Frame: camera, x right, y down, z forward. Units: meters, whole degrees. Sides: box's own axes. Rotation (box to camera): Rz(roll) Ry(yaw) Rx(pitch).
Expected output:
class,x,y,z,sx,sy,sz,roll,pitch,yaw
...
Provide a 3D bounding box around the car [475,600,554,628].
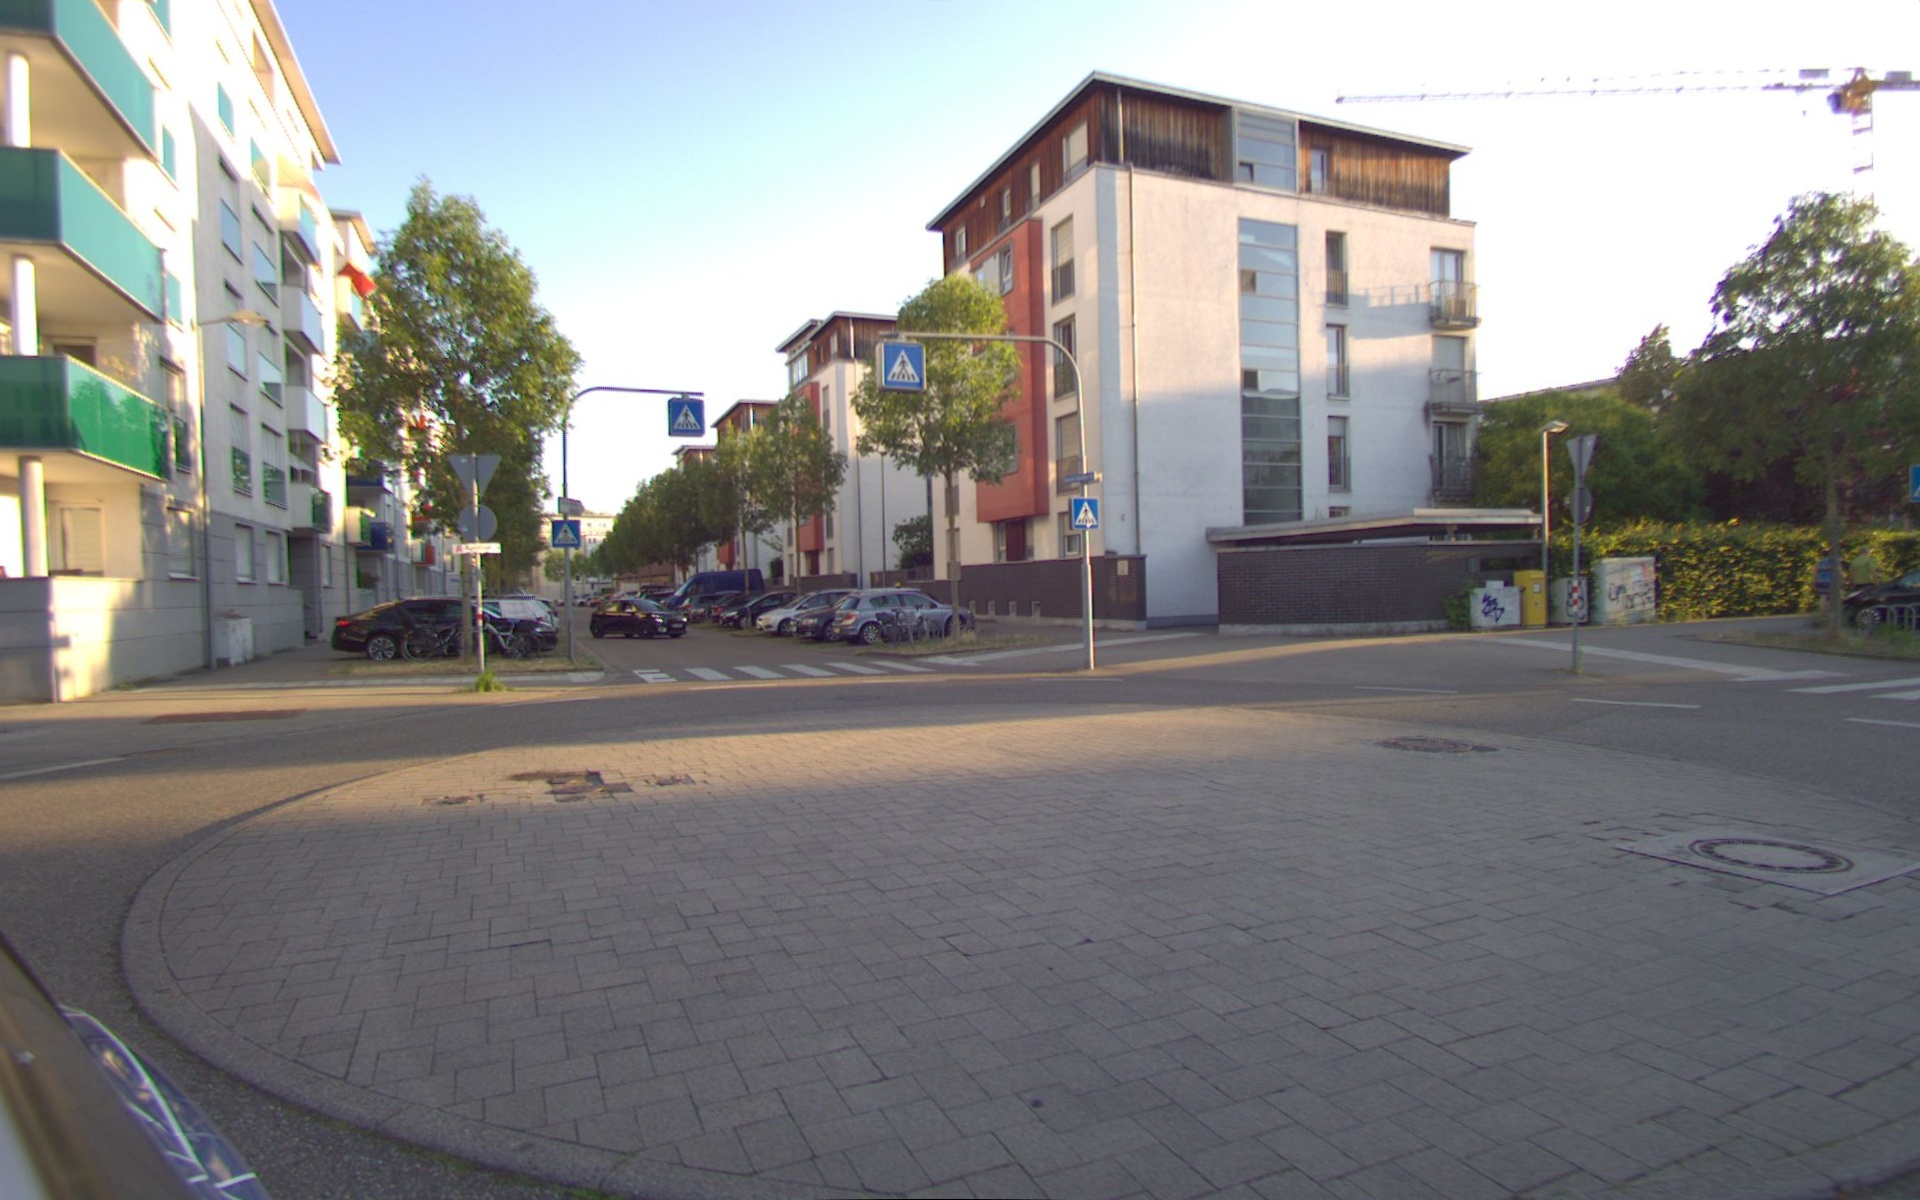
class,x,y,z,sx,sy,sz,roll,pitch,yaw
car,-26.099,0.837,59.475,4.180,1.548,1.698,1,-1,-22

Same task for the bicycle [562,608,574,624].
class,x,y,z,sx,sy,sz,roll,pitch,yaw
bicycle,-31.426,1.298,81.156,0.759,1.276,1.787,-2,0,-24

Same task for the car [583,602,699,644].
class,x,y,z,sx,sy,sz,roll,pitch,yaw
car,-11.731,0.819,37.124,4.163,1.474,1.759,0,-1,31

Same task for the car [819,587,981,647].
class,x,y,z,sx,sy,sz,roll,pitch,yaw
car,-1.688,0.455,28.796,4.220,1.468,1.686,-3,0,-25

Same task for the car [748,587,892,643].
class,x,y,z,sx,sy,sz,roll,pitch,yaw
car,-4.963,0.512,35.983,4.681,1.597,1.764,-4,1,-27

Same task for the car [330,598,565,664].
class,x,y,z,sx,sy,sz,roll,pitch,yaw
car,-12.050,0.741,24.188,4.806,1.469,1.944,1,-1,-21

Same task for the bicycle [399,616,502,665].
class,x,y,z,sx,sy,sz,roll,pitch,yaw
bicycle,-11.275,0.890,22.449,2.000,1.054,0.475,1,-2,-27

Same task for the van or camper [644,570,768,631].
class,x,y,z,sx,sy,sz,roll,pitch,yaw
van or camper,-14.229,-0.008,56.715,6.209,3.110,2.450,-3,0,-27

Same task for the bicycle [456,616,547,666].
class,x,y,z,sx,sy,sz,roll,pitch,yaw
bicycle,-10.133,0.899,22.381,1.808,1.080,0.475,1,-2,-27

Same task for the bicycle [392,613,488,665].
class,x,y,z,sx,sy,sz,roll,pitch,yaw
bicycle,-10.920,0.813,21.305,1.762,1.050,0.569,1,-2,-27

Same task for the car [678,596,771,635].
class,x,y,z,sx,sy,sz,roll,pitch,yaw
car,-11.417,0.738,49.085,4.034,1.637,1.729,-3,1,-27

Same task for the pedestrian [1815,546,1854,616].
class,x,y,z,sx,sy,sz,roll,pitch,yaw
pedestrian,20.977,-0.453,24.272,0.656,1.611,0.703,-2,2,42

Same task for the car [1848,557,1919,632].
class,x,y,z,sx,sy,sz,roll,pitch,yaw
car,20.693,-0.143,20.689,1.662,1.533,3.422,-2,1,-21

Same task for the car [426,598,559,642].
class,x,y,z,sx,sy,sz,roll,pitch,yaw
car,-16.703,0.724,36.260,4.222,1.519,1.691,1,-1,-26

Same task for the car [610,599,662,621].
class,x,y,z,sx,sy,sz,roll,pitch,yaw
car,-28.460,0.900,88.999,4.180,1.800,1.698,1,-1,-24

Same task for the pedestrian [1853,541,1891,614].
class,x,y,z,sx,sy,sz,roll,pitch,yaw
pedestrian,21.556,-0.529,23.925,0.624,1.679,0.733,-2,2,43

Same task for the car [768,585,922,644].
class,x,y,z,sx,sy,sz,roll,pitch,yaw
car,-3.805,0.452,33.411,4.707,1.566,1.716,-4,1,-19

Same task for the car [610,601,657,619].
class,x,y,z,sx,sy,sz,roll,pitch,yaw
car,-31.593,0.982,97.818,4.180,1.651,1.698,1,-1,-22

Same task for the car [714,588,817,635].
class,x,y,z,sx,sy,sz,roll,pitch,yaw
car,-8.174,0.469,42.471,3.853,1.723,1.729,-3,1,-27

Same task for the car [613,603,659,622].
class,x,y,z,sx,sy,sz,roll,pitch,yaw
car,-32.130,1.264,100.425,4.180,1.800,1.698,1,-1,-22

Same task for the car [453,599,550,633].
class,x,y,z,sx,sy,sz,roll,pitch,yaw
car,-21.402,0.776,47.217,4.033,1.520,1.671,1,-1,-27

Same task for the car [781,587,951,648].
class,x,y,z,sx,sy,sz,roll,pitch,yaw
car,-2.857,0.497,31.069,4.834,1.489,1.716,-4,1,-25

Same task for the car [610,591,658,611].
class,x,y,z,sx,sy,sz,roll,pitch,yaw
car,-30.662,0.139,95.286,4.180,1.800,1.698,1,-1,-22

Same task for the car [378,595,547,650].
class,x,y,z,sx,sy,sz,roll,pitch,yaw
car,-14.214,0.651,29.127,4.222,1.505,1.748,1,-1,-24

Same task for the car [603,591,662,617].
class,x,y,z,sx,sy,sz,roll,pitch,yaw
car,-25.645,0.311,79.250,4.180,1.945,1.698,1,-1,-24

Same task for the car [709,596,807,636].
class,x,y,z,sx,sy,sz,roll,pitch,yaw
car,-8.943,0.685,44.819,3.853,1.526,1.729,-3,1,-27

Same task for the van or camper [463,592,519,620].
class,x,y,z,sx,sy,sz,roll,pitch,yaw
van or camper,-38.925,0.539,84.127,4.180,2.228,1.698,1,-1,-23

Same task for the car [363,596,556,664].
class,x,y,z,sx,sy,sz,roll,pitch,yaw
car,-13.071,0.765,26.713,4.340,1.519,1.748,-2,0,-20

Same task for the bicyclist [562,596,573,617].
class,x,y,z,sx,sy,sz,roll,pitch,yaw
bicyclist,-31.455,0.541,81.167,0.754,1.640,0.665,-2,0,-24

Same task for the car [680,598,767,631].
class,x,y,z,sx,sy,sz,roll,pitch,yaw
car,-12.154,0.755,51.986,4.033,1.638,1.729,1,-1,-27

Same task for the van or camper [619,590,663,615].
class,x,y,z,sx,sy,sz,roll,pitch,yaw
van or camper,-33.284,0.242,105.555,4.180,2.554,1.766,1,-1,-22

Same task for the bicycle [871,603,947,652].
class,x,y,z,sx,sy,sz,roll,pitch,yaw
bicycle,-1.305,0.701,25.944,1.791,1.074,0.569,-5,1,-25
